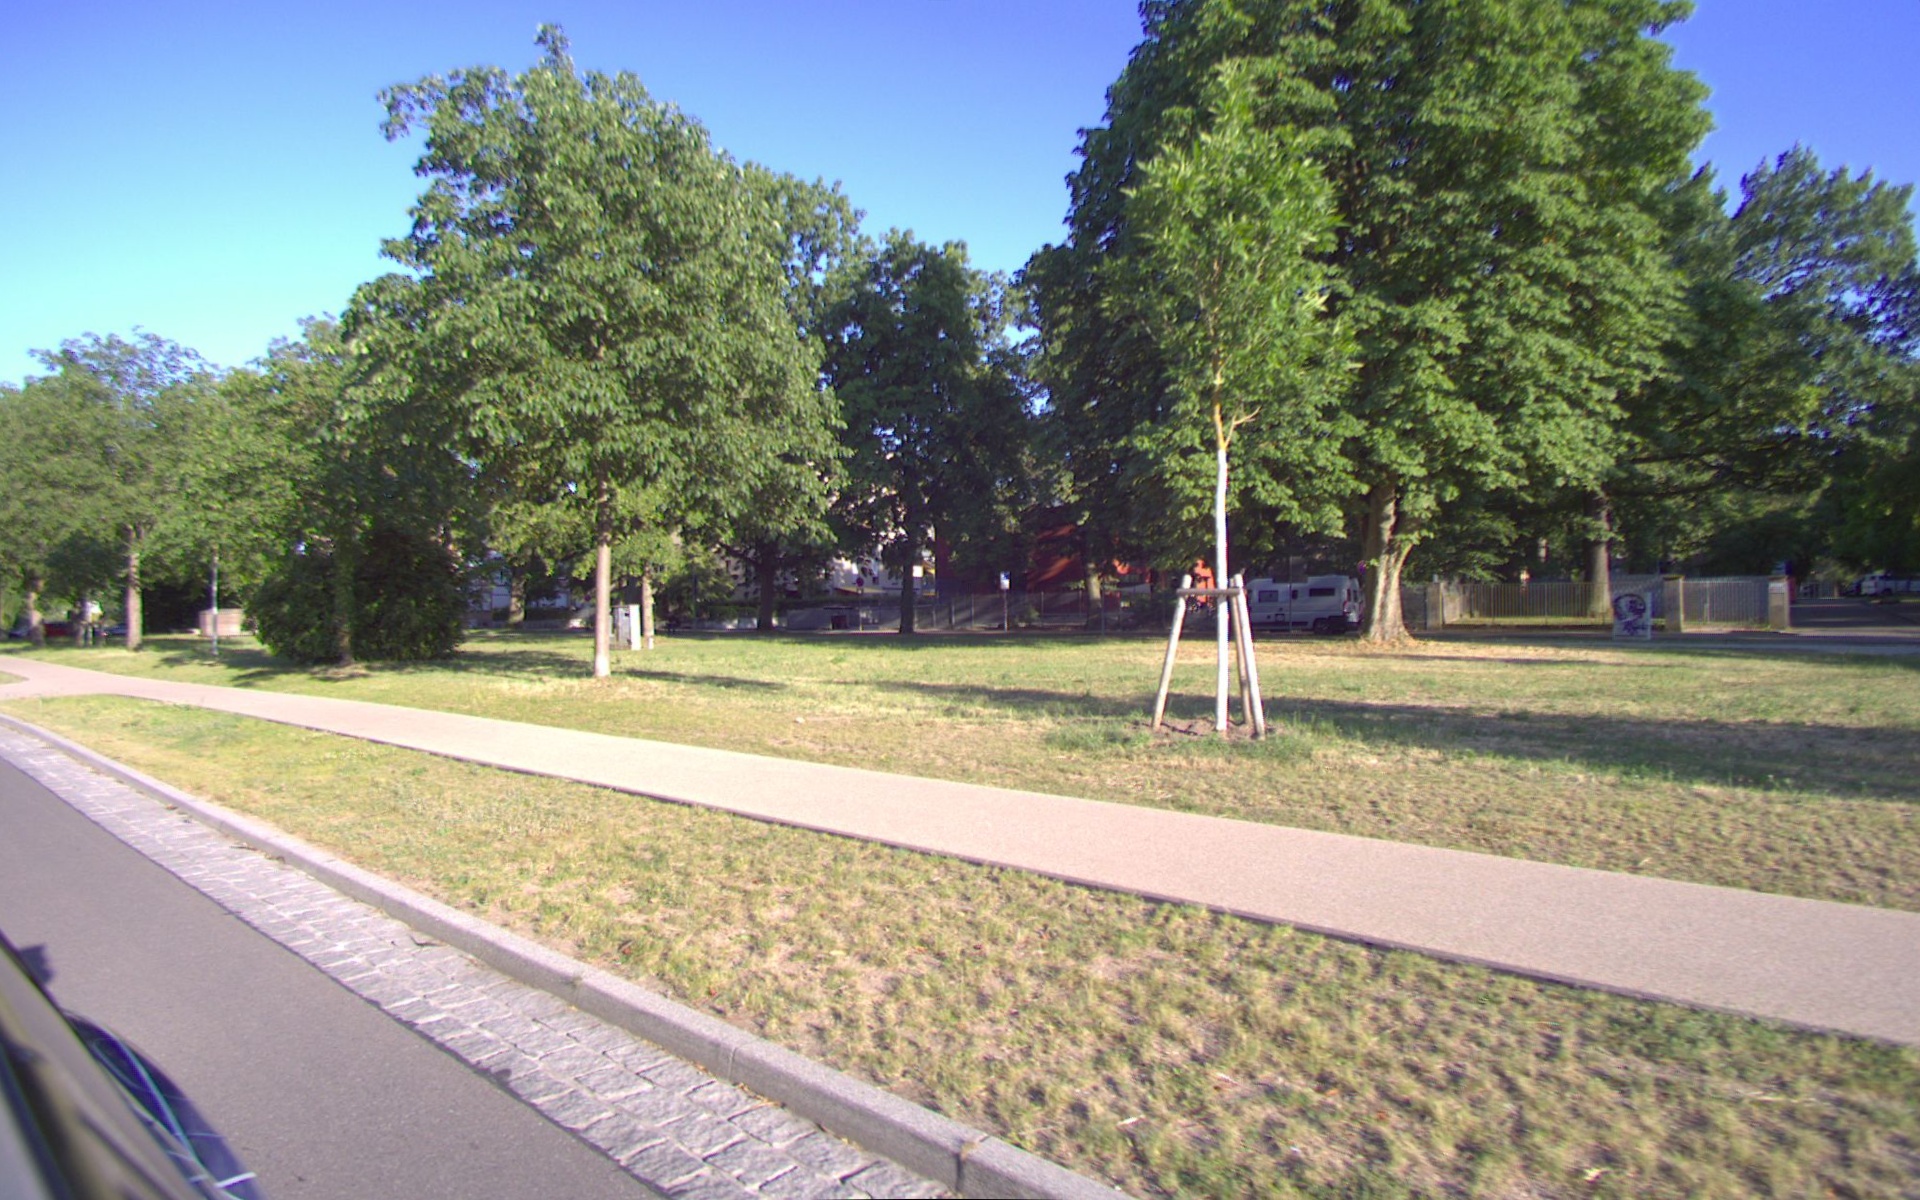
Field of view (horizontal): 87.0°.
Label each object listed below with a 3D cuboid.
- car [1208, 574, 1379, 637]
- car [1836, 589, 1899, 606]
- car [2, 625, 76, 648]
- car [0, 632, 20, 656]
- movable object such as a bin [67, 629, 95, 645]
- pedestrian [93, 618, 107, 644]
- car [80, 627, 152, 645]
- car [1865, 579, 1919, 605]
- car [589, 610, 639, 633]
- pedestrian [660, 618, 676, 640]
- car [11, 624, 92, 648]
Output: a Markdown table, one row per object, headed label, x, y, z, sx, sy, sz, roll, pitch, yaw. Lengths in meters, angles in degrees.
| label | x | y | z | sx | sy | sz | roll | pitch | yaw |
| --- | --- | --- | --- | --- | --- | --- | --- | --- | --- |
| car | 13.968 | 0.268 | 42.599 | 6.312 | 2.482 | 2.694 | -1 | -1 | 39 |
| car | 87.448 | -0.222 | 97.570 | 4.204 | 1.600 | 1.626 | 0 | -1 | 11 |
| car | -70.676 | 2.803 | 77.688 | 1.824 | 1.643 | 3.826 | -1 | -1 | 16 |
| car | -67.248 | 3.030 | 69.174 | 1.874 | 1.586 | 3.980 | 1 | 0 | 16 |
| movable object such as a bin | -58.427 | 2.447 | 67.271 | 0.949 | 0.997 | 1.315 | -1 | -1 | 41 |
| pedestrian | -57.853 | 2.081 | 68.076 | 0.672 | 1.708 | 0.655 | -2 | -1 | 42 |
| car | -68.994 | 2.920 | 82.819 | 1.825 | 1.411 | 4.251 | -1 | -1 | 18 |
| car | 77.279 | -0.616 | 83.015 | 4.204 | 2.074 | 1.626 | 0 | -1 | 11 |
| car | -26.443 | 1.643 | 77.364 | 3.736 | 1.630 | 1.973 | -2 | 0 | 41 |
| pedestrian | -13.857 | 1.372 | 47.974 | 0.541 | 0.994 | 0.611 | 0 | -1 | -39 |
| car | -65.892 | 2.561 | 73.469 | 1.874 | 1.586 | 3.980 | 1 | 0 | 16 |
